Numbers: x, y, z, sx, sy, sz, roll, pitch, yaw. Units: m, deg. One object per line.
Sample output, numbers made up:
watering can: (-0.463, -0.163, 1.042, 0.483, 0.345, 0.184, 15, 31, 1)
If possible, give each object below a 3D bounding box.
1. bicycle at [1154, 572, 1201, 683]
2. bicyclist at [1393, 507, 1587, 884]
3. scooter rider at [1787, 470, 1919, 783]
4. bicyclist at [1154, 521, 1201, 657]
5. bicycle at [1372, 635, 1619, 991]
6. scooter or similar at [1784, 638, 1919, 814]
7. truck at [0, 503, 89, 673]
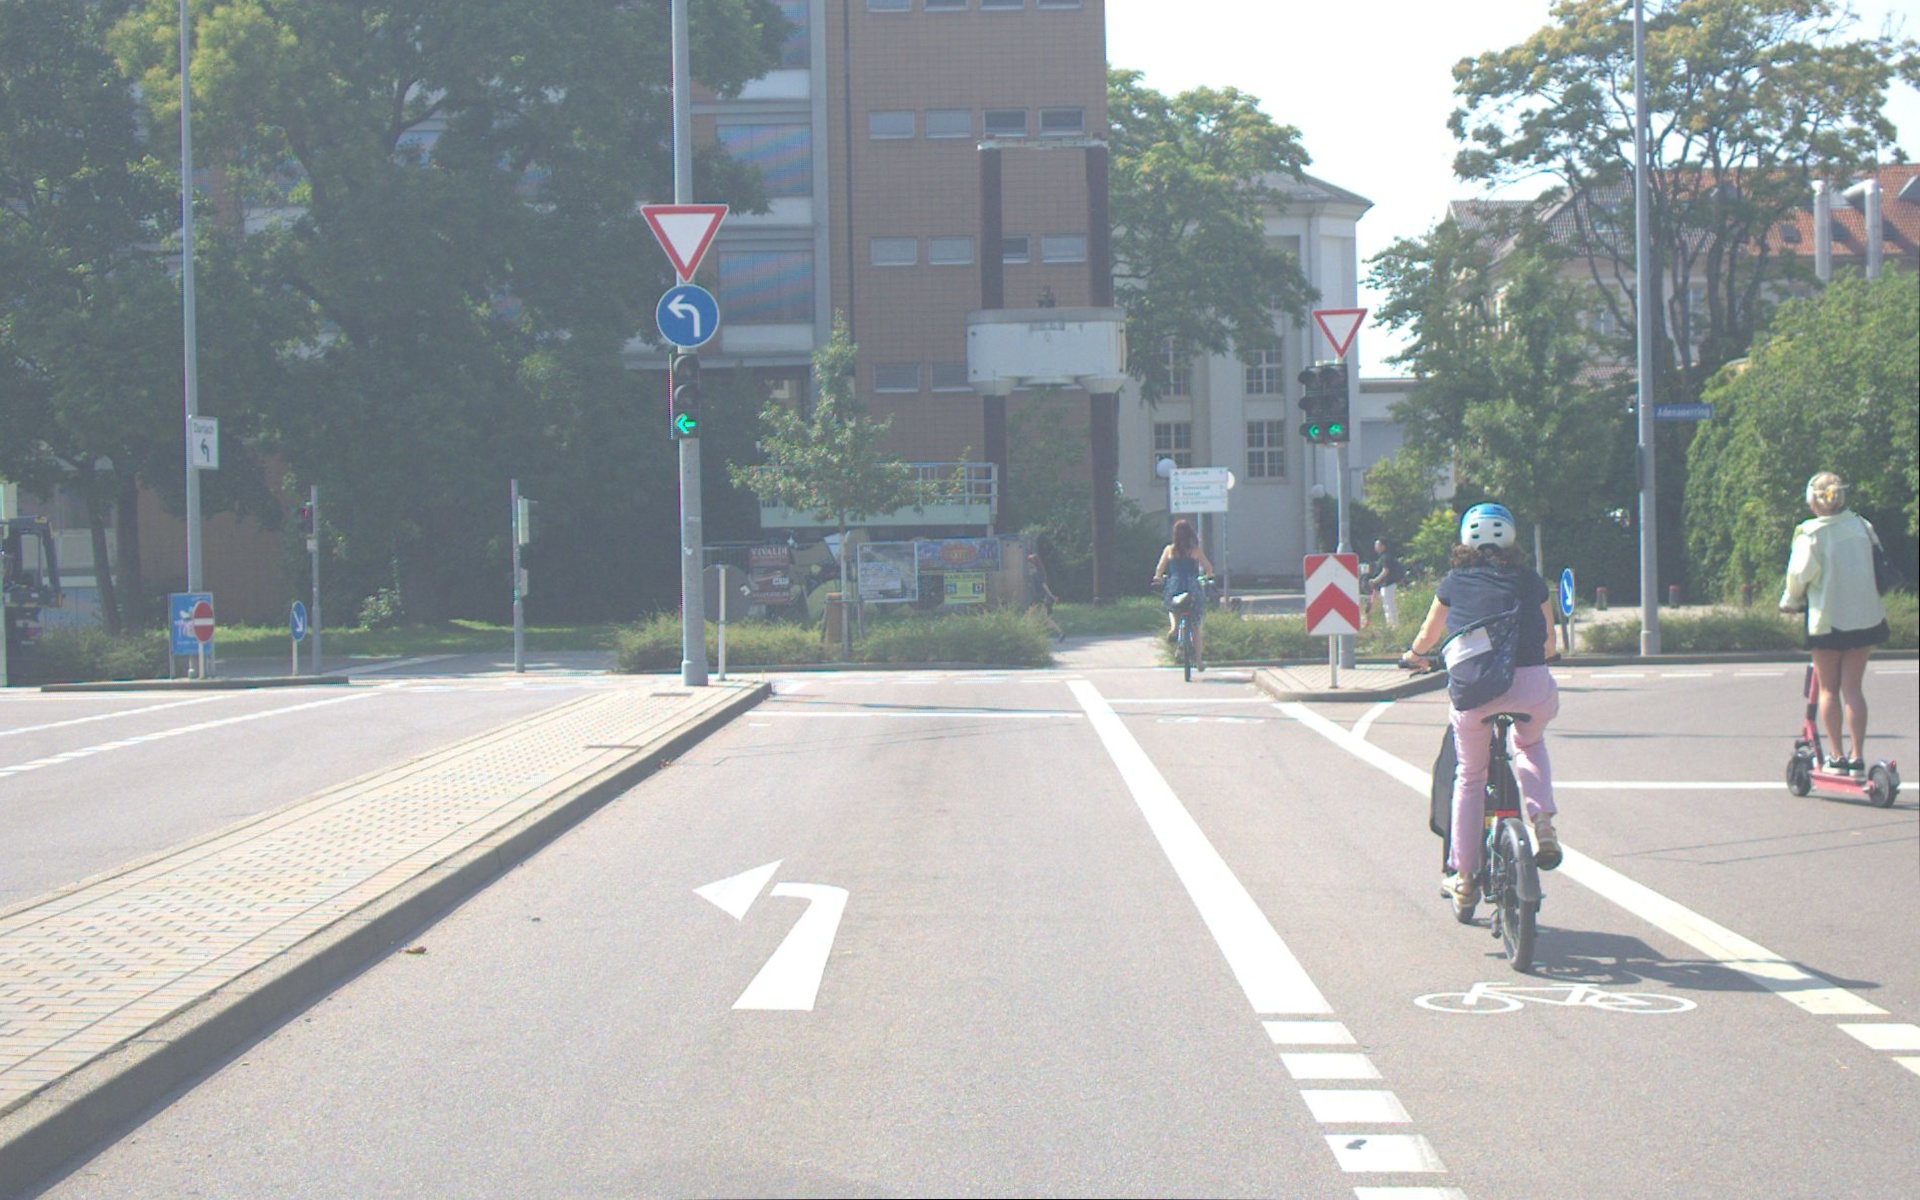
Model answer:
bicycle: (2.297, 0.278, 36.196, 0.444, 1.113, 1.446, -1, 1, 5)
bicyclist: (1.927, 0.335, 12.559, 0.602, 1.330, 0.660, -1, 1, 2)
scooter rider: (5.181, 0.146, 19.788, 0.762, 1.769, 0.555, -1, 1, 10)
bicyclist: (2.301, -0.124, 36.306, 0.450, 1.416, 0.495, -1, 1, 5)
bicycle: (1.938, 0.738, 12.649, 0.604, 1.159, 1.810, -1, 1, 0)
scooter or similar: (5.215, 0.707, 19.838, 0.772, 0.923, 1.620, 0, 1, 9)
truck: (-19.017, -0.205, 62.441, 5.956, 2.979, 2.701, 0, 0, 30)
